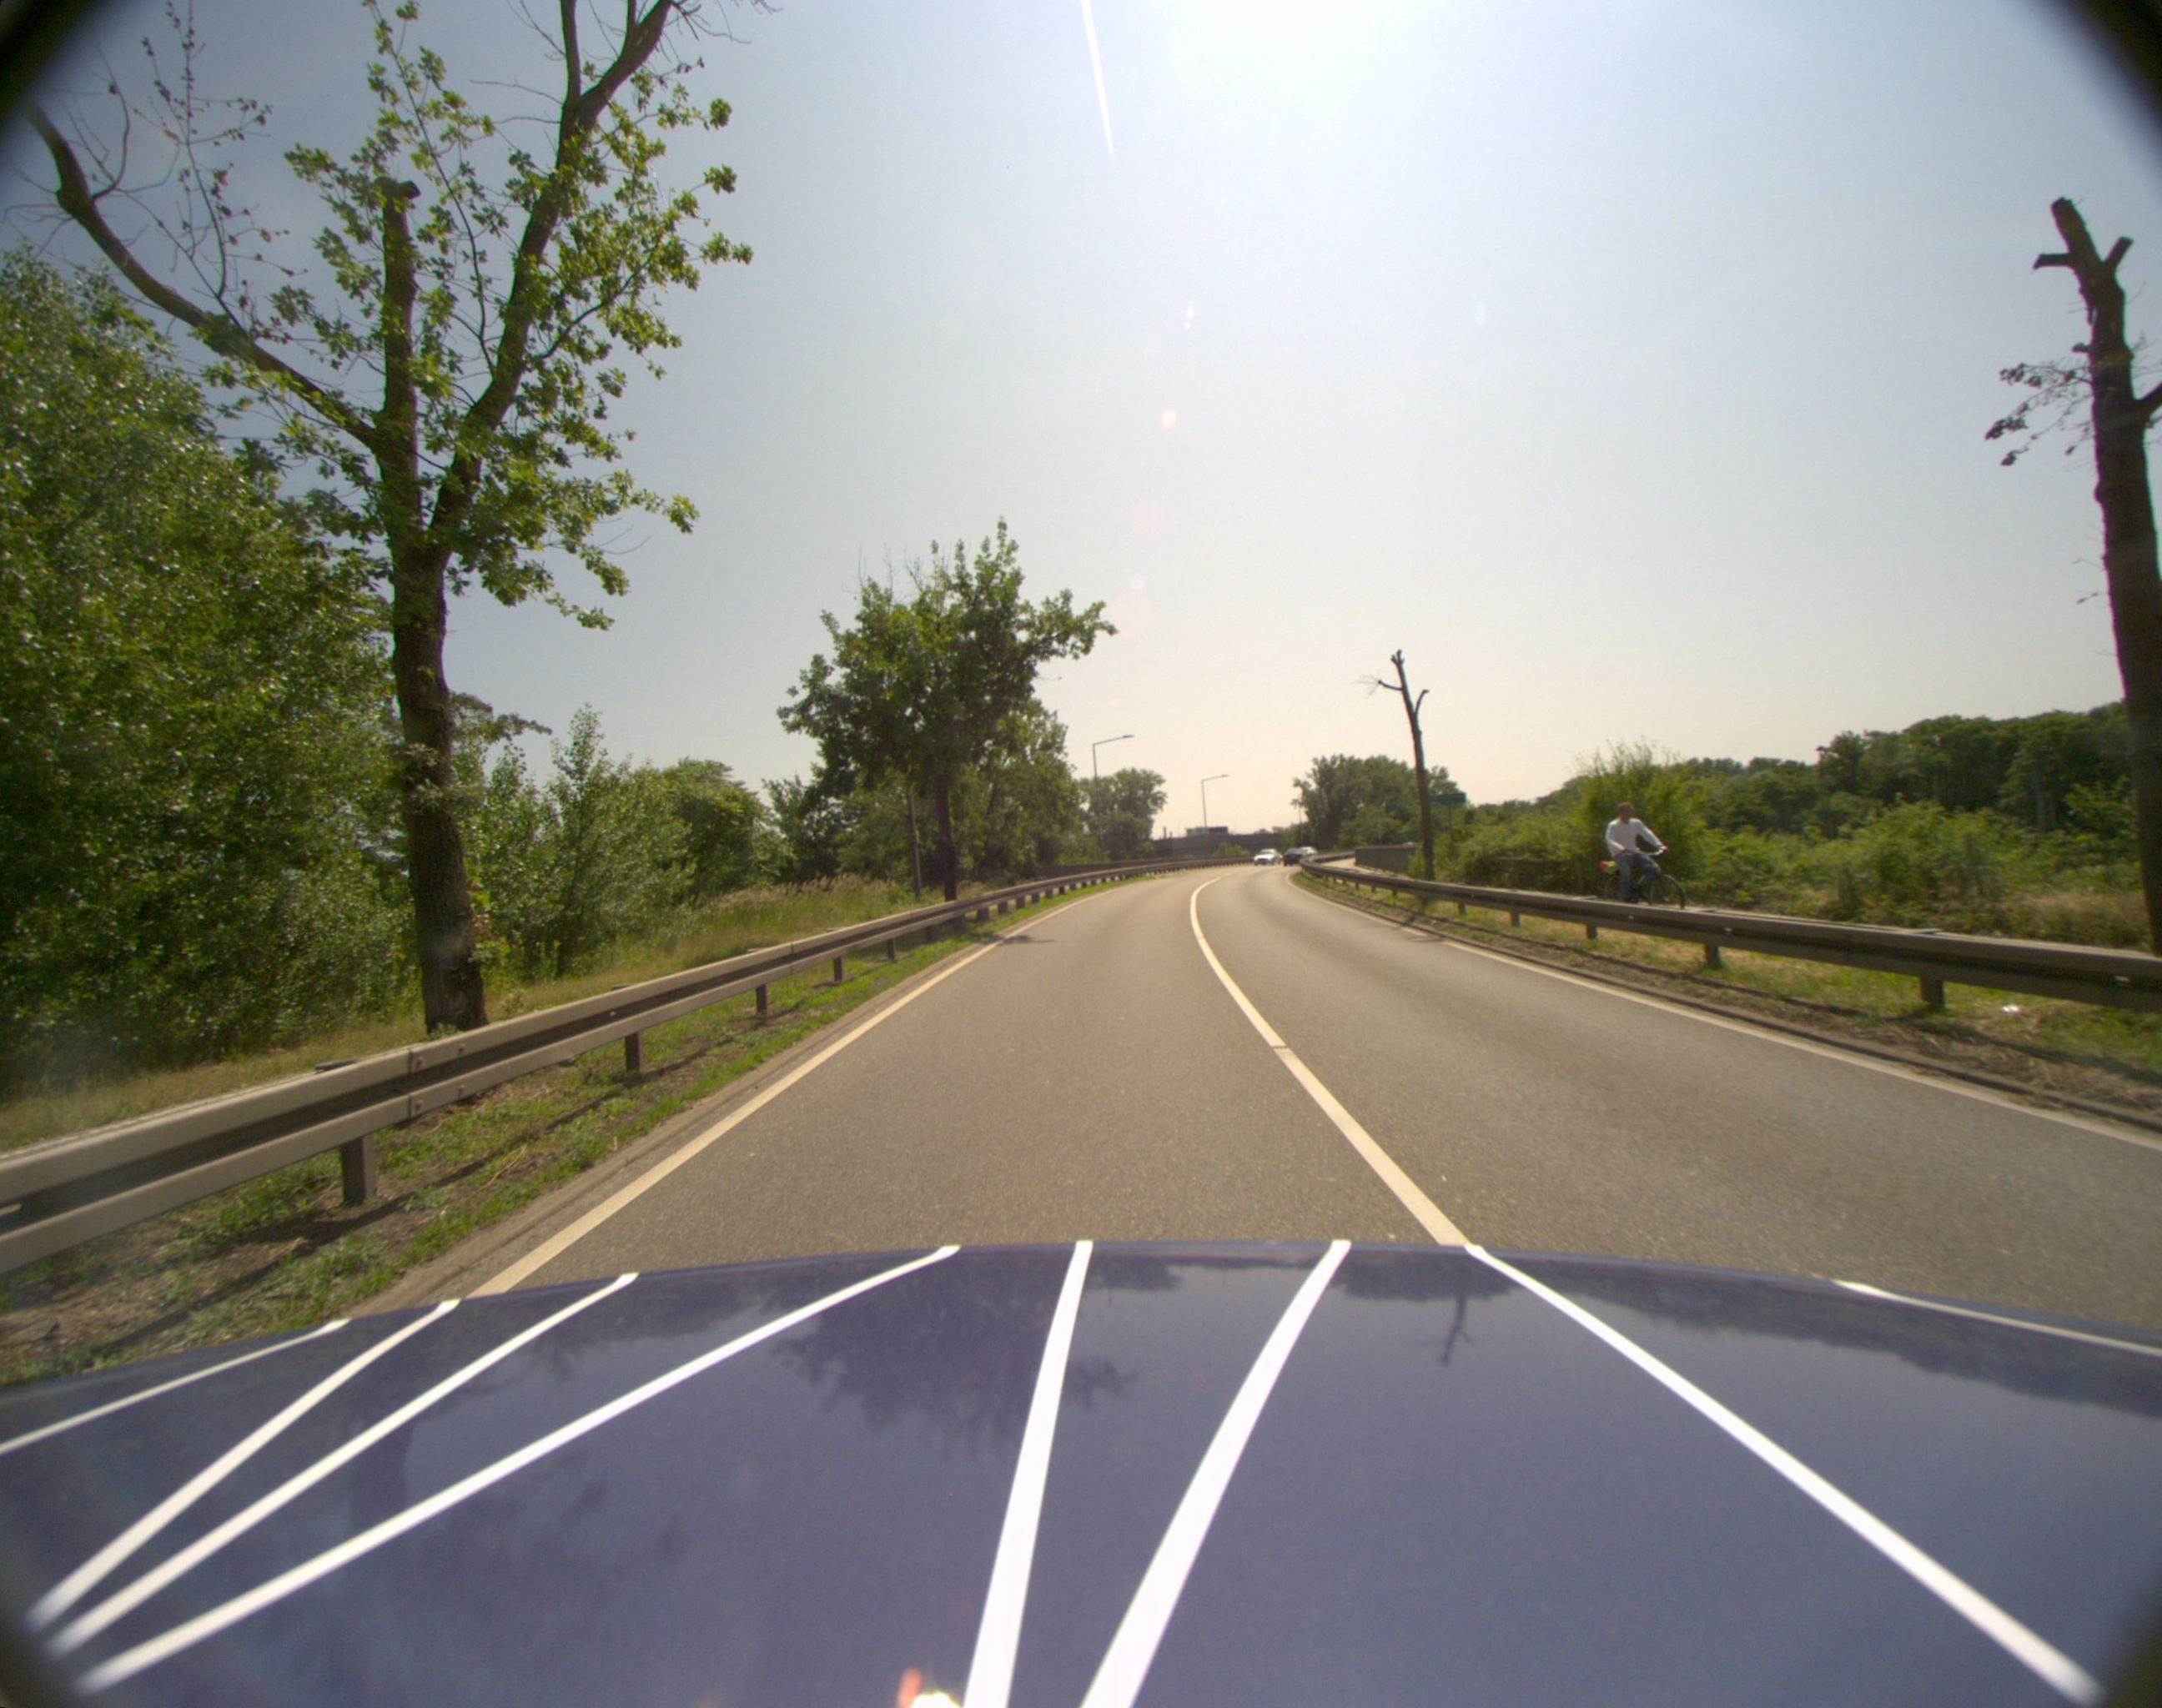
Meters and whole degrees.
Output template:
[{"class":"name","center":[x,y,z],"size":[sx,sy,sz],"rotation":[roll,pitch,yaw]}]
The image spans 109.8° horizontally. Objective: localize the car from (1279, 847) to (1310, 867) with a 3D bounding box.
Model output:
[{"class":"car","center":[17.258,0.215,61.269],"size":[1.805,1.408,4.364],"rotation":[-2,0,23]}]

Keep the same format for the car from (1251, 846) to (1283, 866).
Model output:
[{"class":"car","center":[16.971,0.170,69.201],"size":[1.760,1.491,4.239],"rotation":[-2,2,28]}]

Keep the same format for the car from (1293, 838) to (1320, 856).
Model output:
[{"class":"car","center":[24.731,-0.734,83.201],"size":[1.795,1.772,4.300],"rotation":[-2,1,30]}]

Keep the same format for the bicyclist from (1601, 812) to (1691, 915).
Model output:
[{"class":"bicyclist","center":[8.329,0.130,11.235],"size":[0.731,1.457,0.824],"rotation":[-1,1,3]}]

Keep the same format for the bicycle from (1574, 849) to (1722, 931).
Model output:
[{"class":"bicycle","center":[8.337,0.483,11.309],"size":[0.736,1.110,2.046],"rotation":[-1,1,2]}]
